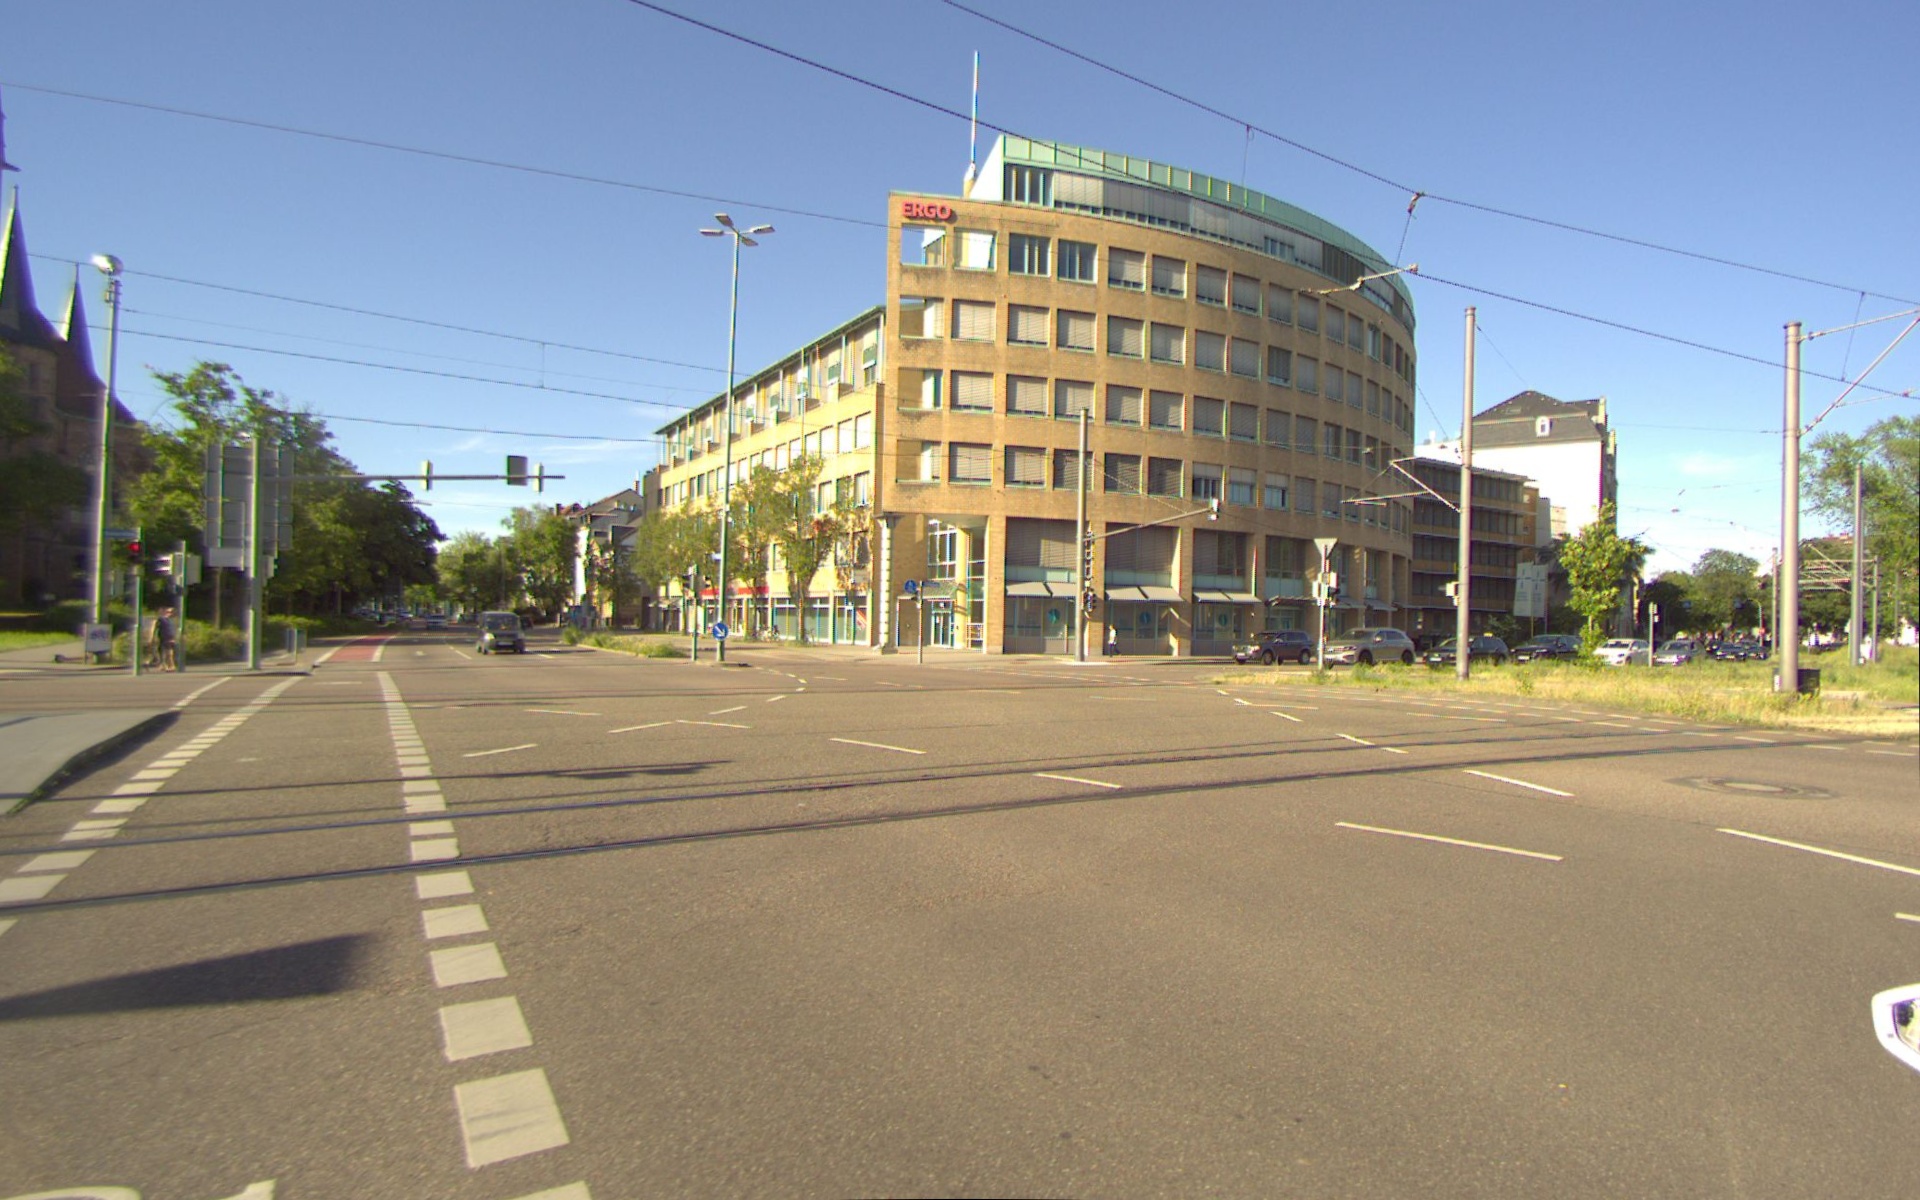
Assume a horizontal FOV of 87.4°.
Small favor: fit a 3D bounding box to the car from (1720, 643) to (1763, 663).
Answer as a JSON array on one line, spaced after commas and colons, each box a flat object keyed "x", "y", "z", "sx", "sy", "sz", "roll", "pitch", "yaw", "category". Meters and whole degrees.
[{"x": 71.060, "y": 4.841, "z": 91.303, "sx": 4.245, "sy": 1.532, "sz": 1.979, "roll": 6, "pitch": -2, "yaw": -37, "category": "car"}]

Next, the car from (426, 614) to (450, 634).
[{"x": -48.721, "y": 2.261, "z": 93.825, "sx": 1.745, "sy": 1.595, "sz": 4.684, "roll": 3, "pitch": 0, "yaw": -25, "category": "car"}]

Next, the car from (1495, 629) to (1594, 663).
[{"x": 28.697, "y": 2.277, "z": 49.313, "sx": 4.961, "sy": 1.467, "sz": 1.984, "roll": 3, "pitch": 0, "yaw": -30, "category": "car"}]

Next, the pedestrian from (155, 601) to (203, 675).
[{"x": -22.235, "y": 1.067, "z": 28.623, "sx": 0.915, "sy": 2.040, "sz": 0.871, "roll": 2, "pitch": 1, "yaw": -31, "category": "pedestrian"}]

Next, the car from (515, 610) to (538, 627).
[{"x": -49.112, "y": 2.081, "z": 113.648, "sx": 1.818, "sy": 1.595, "sz": 3.909, "roll": 2, "pitch": 1, "yaw": -32, "category": "car"}]

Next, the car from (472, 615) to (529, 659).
[{"x": -19.575, "y": 1.555, "z": 42.736, "sx": 1.816, "sy": 1.595, "sz": 3.911, "roll": 2, "pitch": 0, "yaw": -30, "category": "car"}]

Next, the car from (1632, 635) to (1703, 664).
[{"x": 40.004, "y": 2.793, "z": 56.782, "sx": 4.469, "sy": 1.446, "sz": 1.979, "roll": 3, "pitch": 0, "yaw": -37, "category": "car"}]

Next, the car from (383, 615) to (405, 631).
[{"x": -65.318, "y": 2.671, "z": 115.958, "sx": 1.813, "sy": 1.595, "sz": 3.918, "roll": 3, "pitch": 0, "yaw": -25, "category": "car"}]

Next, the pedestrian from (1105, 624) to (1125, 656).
[{"x": 7.749, "y": 1.987, "z": 50.101, "sx": 0.702, "sy": 1.552, "sz": 0.595, "roll": 2, "pitch": 1, "yaw": -24, "category": "pedestrian"}]

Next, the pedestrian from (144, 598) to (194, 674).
[{"x": -21.867, "y": 0.998, "z": 27.790, "sx": 0.915, "sy": 2.040, "sz": 0.871, "roll": 2, "pitch": 1, "yaw": -31, "category": "pedestrian"}]

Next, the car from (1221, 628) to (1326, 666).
[{"x": 15.594, "y": 2.346, "z": 49.891, "sx": 5.155, "sy": 1.690, "sz": 2.105, "roll": 3, "pitch": 0, "yaw": -33, "category": "car"}]

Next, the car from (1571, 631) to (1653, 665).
[{"x": 34.479, "y": 2.541, "z": 53.118, "sx": 4.609, "sy": 1.617, "sz": 1.981, "roll": 3, "pitch": 0, "yaw": -34, "category": "car"}]

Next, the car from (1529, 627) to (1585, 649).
[{"x": 50.626, "y": 3.182, "z": 85.319, "sx": 3.927, "sy": 1.602, "sz": 1.997, "roll": 3, "pitch": 1, "yaw": 29, "category": "car"}]

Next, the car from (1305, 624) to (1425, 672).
[{"x": 16.493, "y": 1.927, "z": 40.818, "sx": 5.034, "sy": 1.757, "sz": 2.086, "roll": 2, "pitch": -1, "yaw": -34, "category": "car"}]

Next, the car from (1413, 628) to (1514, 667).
[{"x": 22.426, "y": 2.135, "z": 44.714, "sx": 4.614, "sy": 1.537, "sz": 1.981, "roll": 3, "pitch": 0, "yaw": -34, "category": "car"}]
